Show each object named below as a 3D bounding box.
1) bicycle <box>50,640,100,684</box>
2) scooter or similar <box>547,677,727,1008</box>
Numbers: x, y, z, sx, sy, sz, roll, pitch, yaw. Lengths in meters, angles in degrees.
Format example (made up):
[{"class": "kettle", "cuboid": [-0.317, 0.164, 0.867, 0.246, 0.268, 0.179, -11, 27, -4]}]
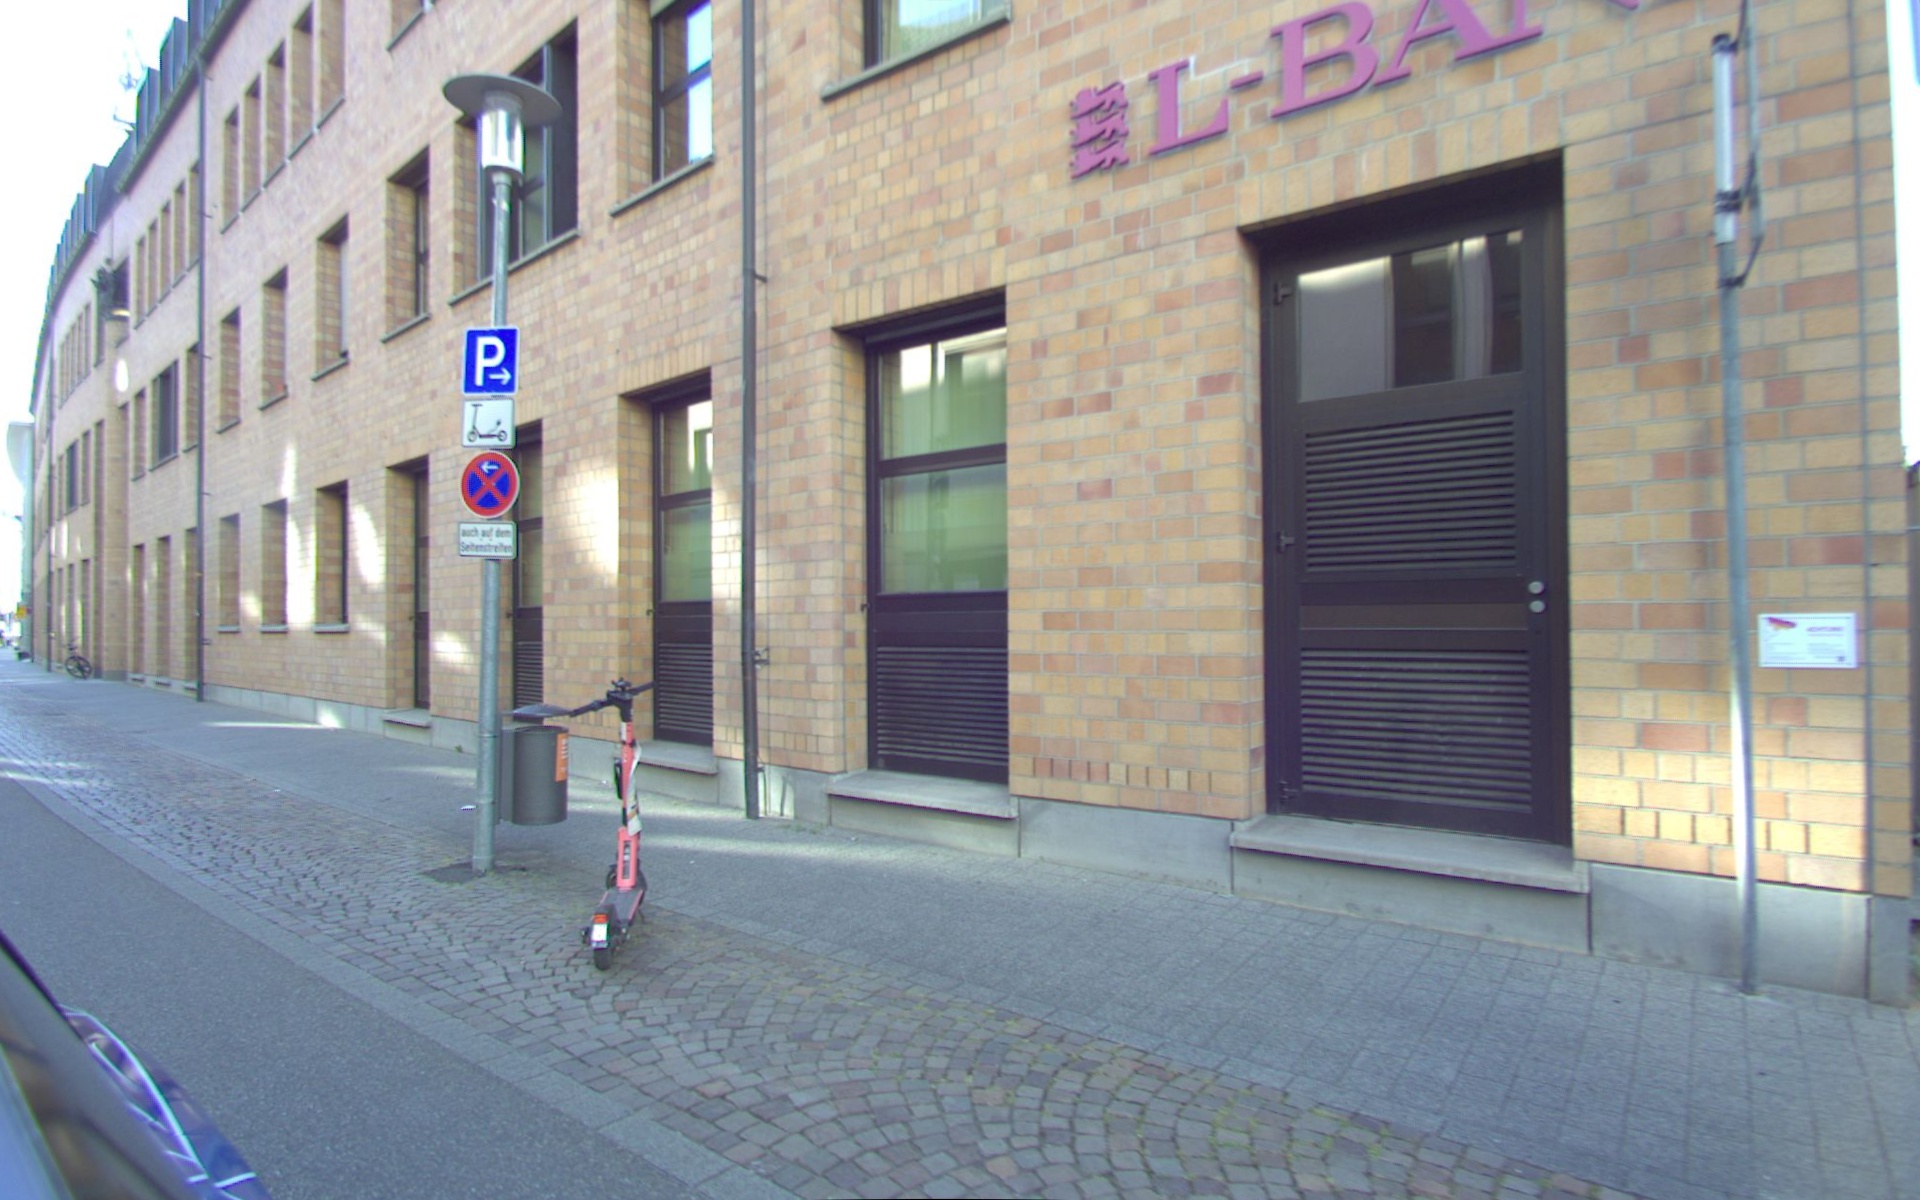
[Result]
[{"class": "bicycle", "cuboid": [-24.852, 1.727, 28.398, 1.800, 1.171, 0.626, -2, 1, 36]}, {"class": "scooter or similar", "cuboid": [-1.558, 1.010, 4.752, 0.688, 1.227, 1.361, 0, -2, -23]}]
